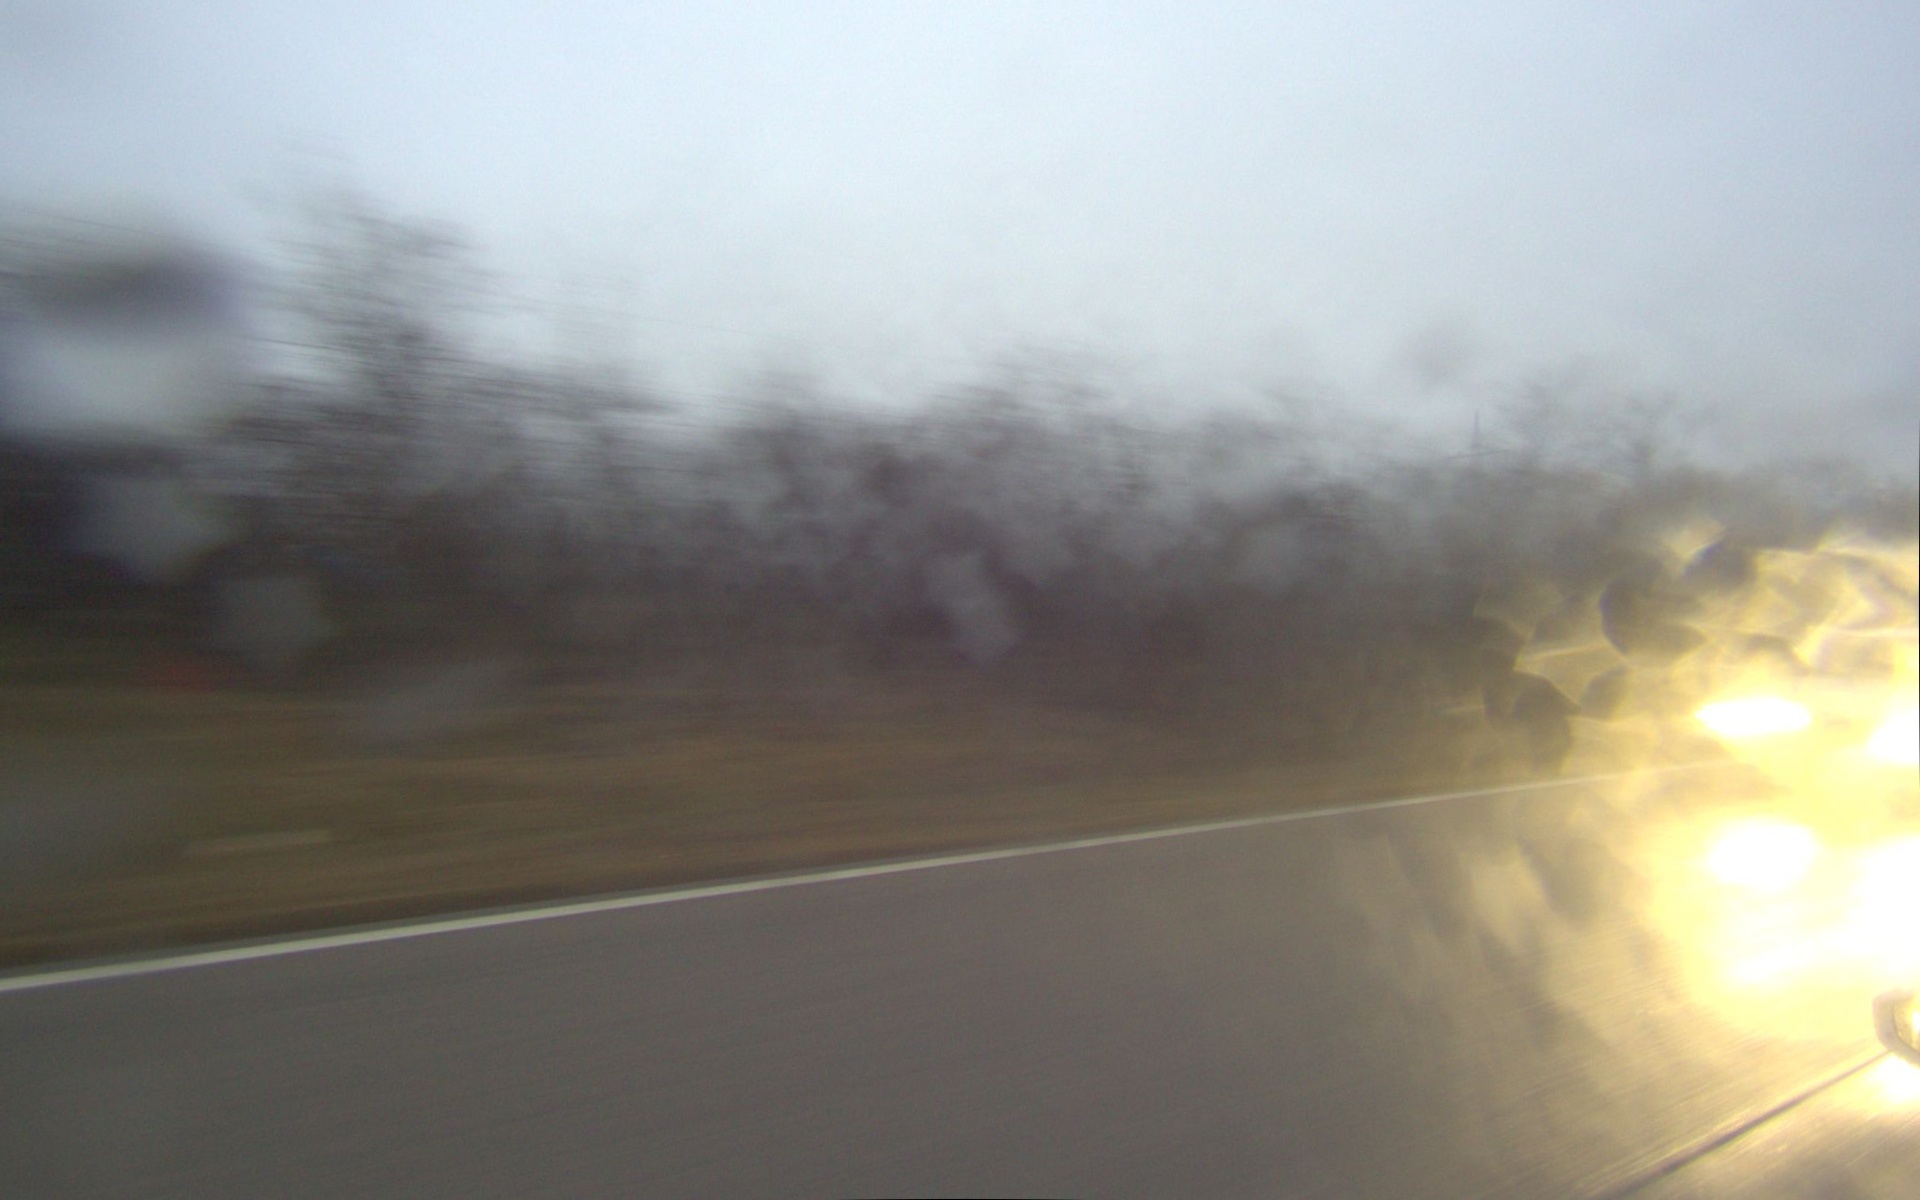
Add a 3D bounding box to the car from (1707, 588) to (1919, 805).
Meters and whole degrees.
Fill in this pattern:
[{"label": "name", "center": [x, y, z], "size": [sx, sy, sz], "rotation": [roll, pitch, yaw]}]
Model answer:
[{"label": "car", "center": [9.189, 0.793, 9.430], "size": [4.629, 1.662, 1.750], "rotation": [1, 1, -30]}]
